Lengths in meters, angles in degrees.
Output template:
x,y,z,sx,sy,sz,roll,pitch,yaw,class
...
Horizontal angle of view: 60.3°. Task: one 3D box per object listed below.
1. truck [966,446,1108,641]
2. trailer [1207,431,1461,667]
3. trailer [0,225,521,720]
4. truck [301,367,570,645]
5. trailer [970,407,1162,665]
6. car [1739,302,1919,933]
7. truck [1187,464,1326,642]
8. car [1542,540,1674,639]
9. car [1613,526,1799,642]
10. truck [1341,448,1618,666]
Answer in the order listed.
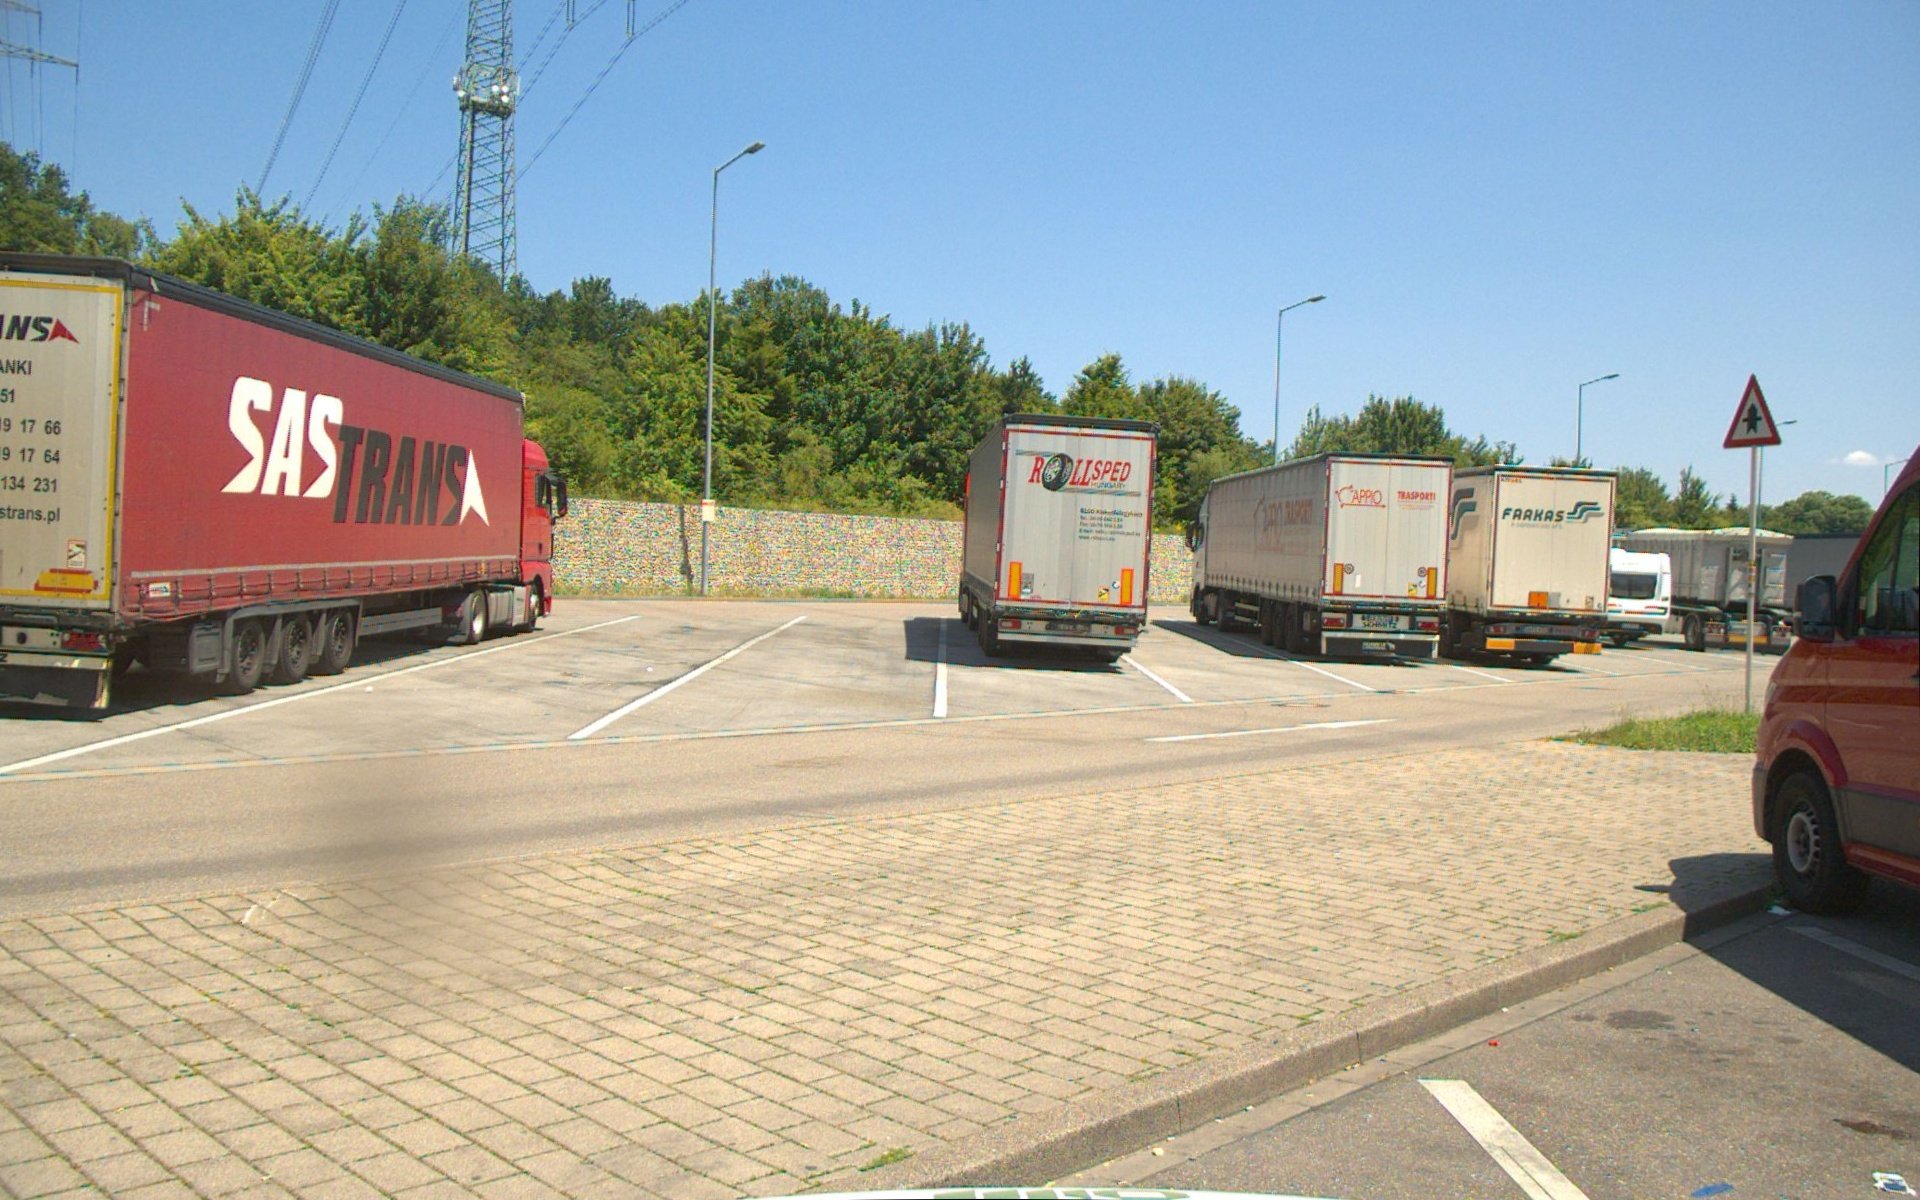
x,y,z,sx,sy,sz,roll,pitch,yaw,class
1.640,-1.242,37.845,2.813,4.050,6.029,1,1,-1,truck
8.179,-1.099,38.353,2.627,4.530,12.826,1,1,-1,trailer
-8.636,-1.239,21.001,2.743,4.293,13.200,1,1,-1,trailer
-8.722,-1.494,28.256,2.749,4.205,5.893,1,1,-1,truck
1.730,-1.126,32.088,2.838,4.083,11.316,1,1,-1,trailer
4.989,0.108,5.575,1.952,2.679,6.385,1,1,3,car
8.026,-1.252,45.422,2.607,4.530,5.863,1,1,-1,truck
18.239,-0.271,46.752,2.072,2.645,3.999,1,0,-1,car
21.705,-0.499,48.510,2.448,3.128,6.350,1,1,-1,car
11.720,-0.836,38.900,2.534,4.299,11.967,1,0,-1,truck
